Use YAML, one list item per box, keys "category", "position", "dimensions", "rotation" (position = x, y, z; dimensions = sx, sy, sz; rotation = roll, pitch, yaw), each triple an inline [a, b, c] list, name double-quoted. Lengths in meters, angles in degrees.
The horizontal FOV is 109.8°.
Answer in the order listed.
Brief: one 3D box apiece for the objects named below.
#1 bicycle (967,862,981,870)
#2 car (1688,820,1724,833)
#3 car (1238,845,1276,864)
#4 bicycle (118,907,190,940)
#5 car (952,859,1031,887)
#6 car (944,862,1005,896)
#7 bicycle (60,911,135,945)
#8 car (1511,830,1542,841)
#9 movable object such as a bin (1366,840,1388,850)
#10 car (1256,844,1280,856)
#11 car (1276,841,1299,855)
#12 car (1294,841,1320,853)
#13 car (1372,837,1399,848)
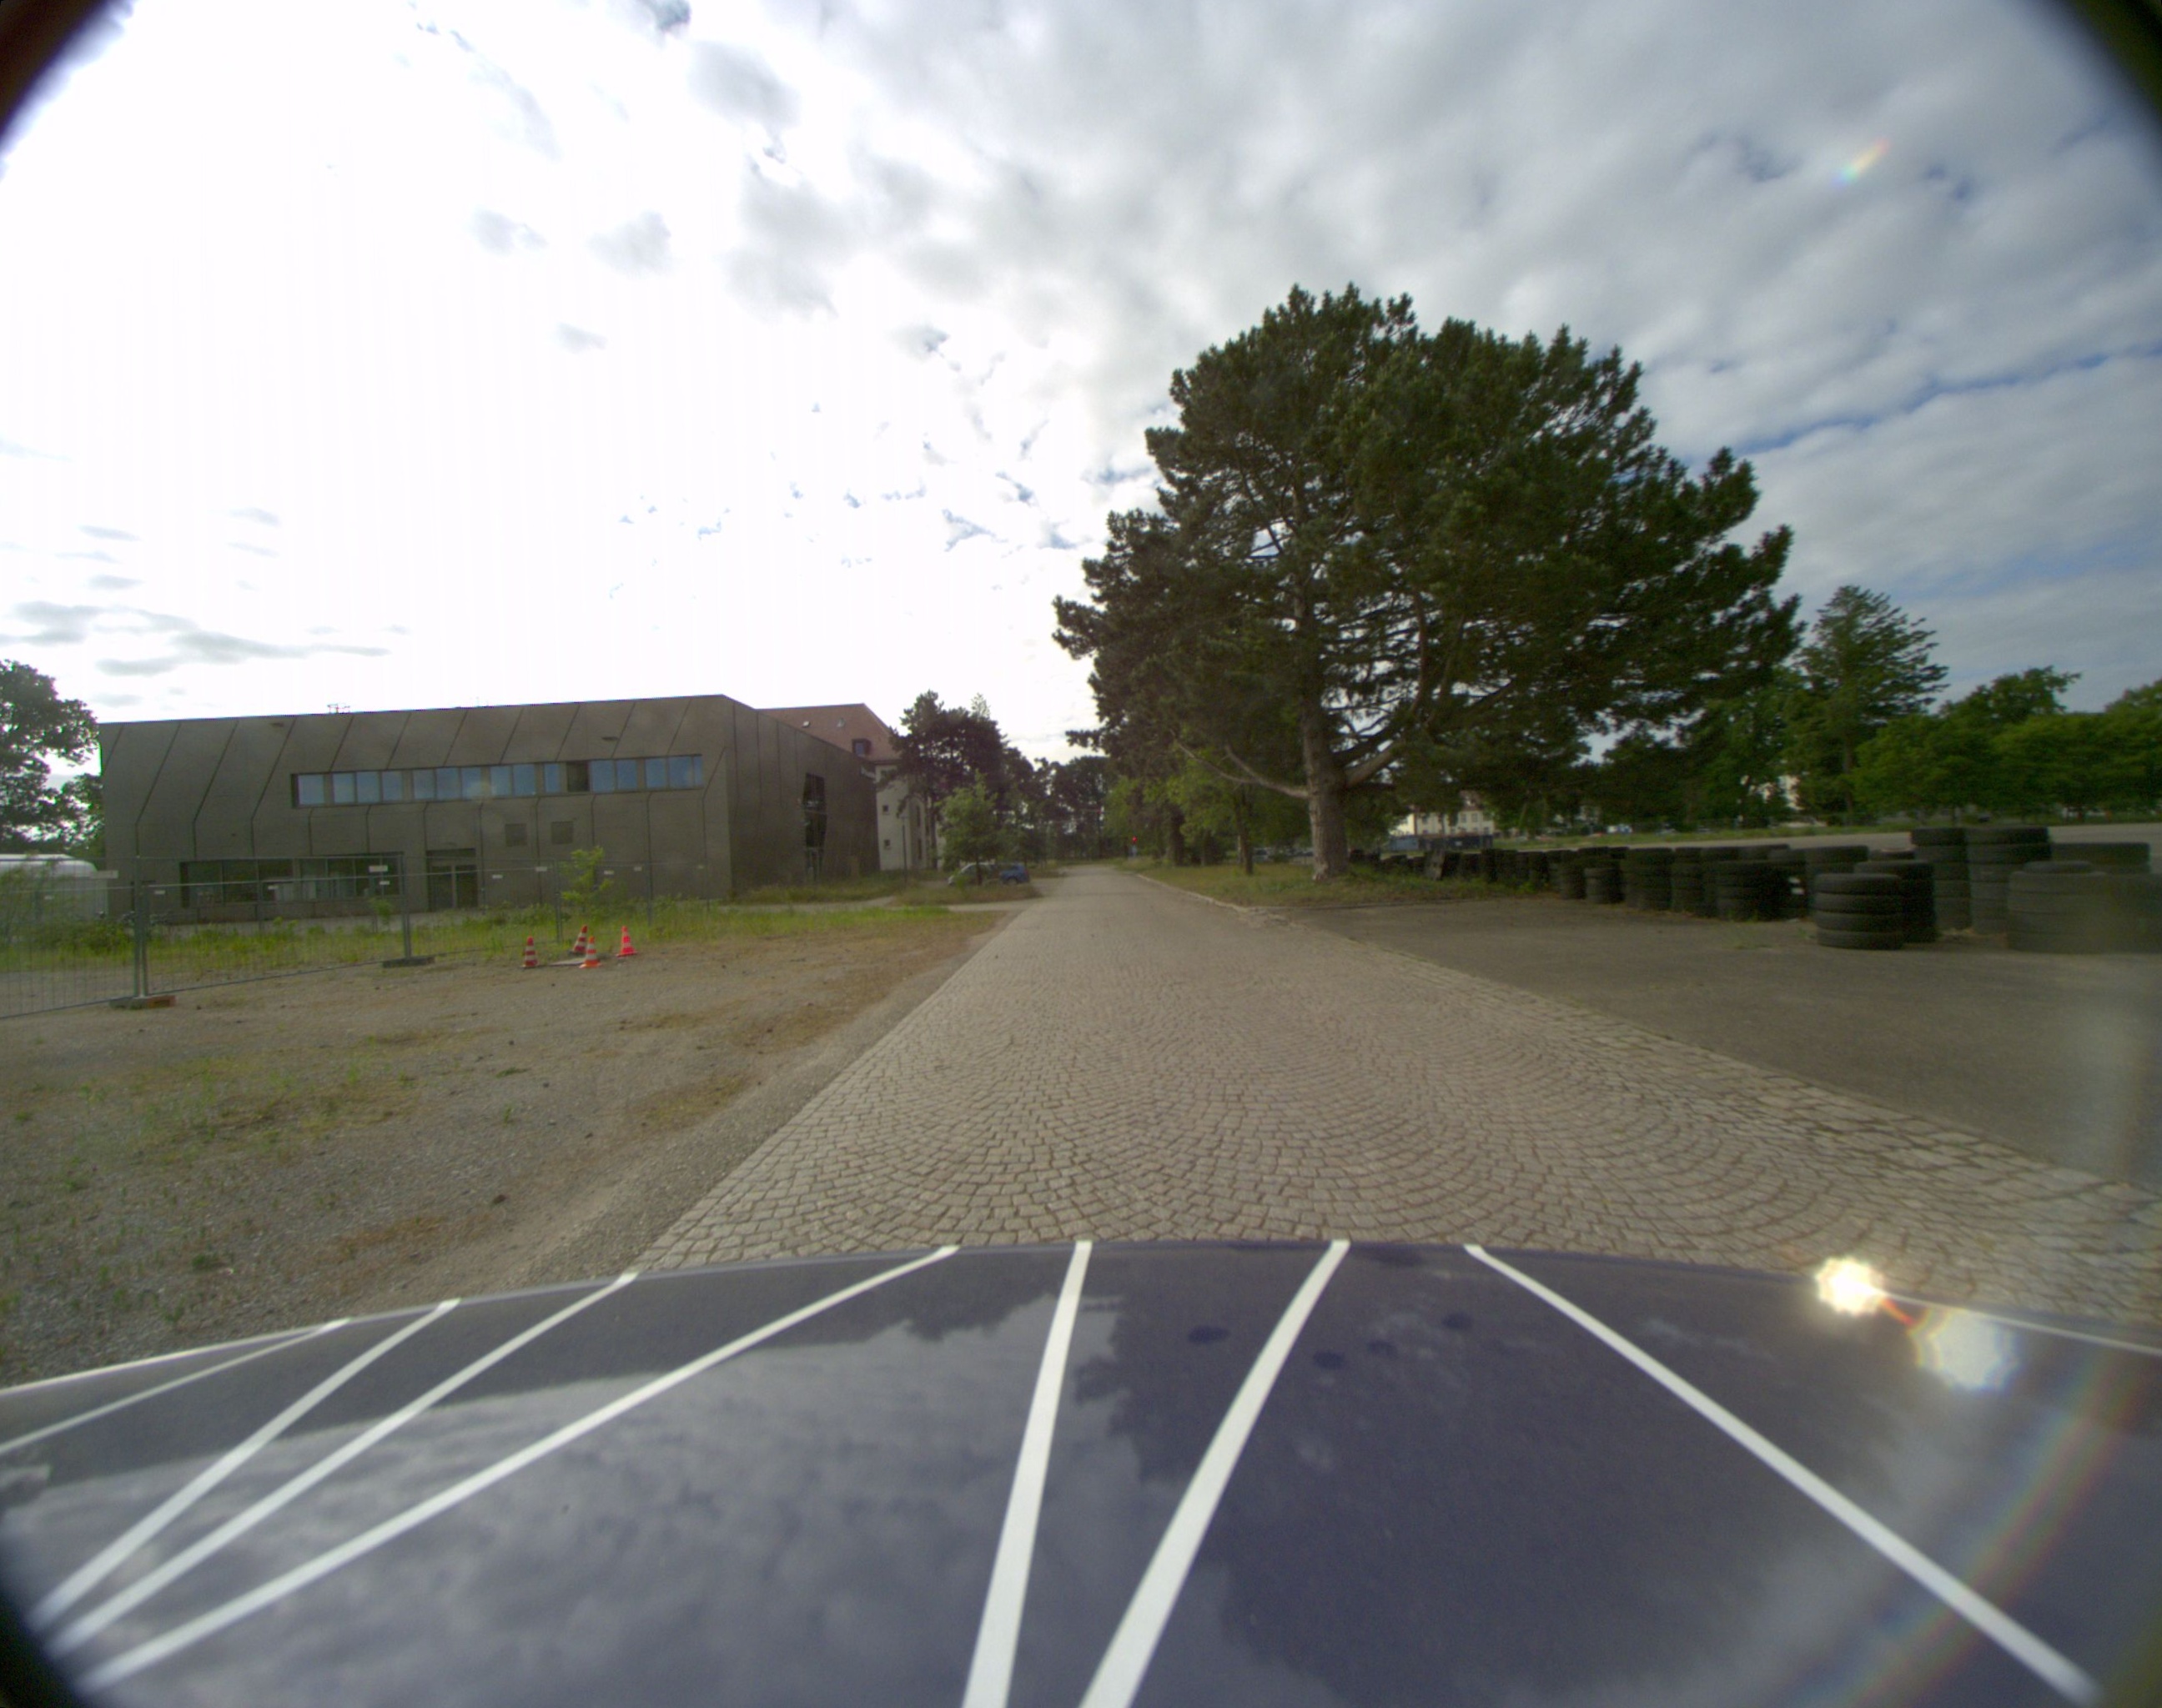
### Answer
- category: "bicycle"
  position: [-14.542, 1.607, 103.294]
  dimensions: [1.656, 1.079, 0.614]
  rotation: [-3, 1, -3]
- category: "car"
  position: [88.762, -3.911, 108.011]
  dimensions: [1.828, 1.712, 4.585]
  rotation: [-3, 0, 8]
- category: "car"
  position: [13.708, 0.055, 59.489]
  dimensions: [1.829, 1.408, 4.420]
  rotation: [-1, 0, -2]
- category: "bicycle"
  position: [-35.022, 2.606, 28.733]
  dimensions: [0.511, 1.079, 1.658]
  rotation: [-3, 0, 10]
- category: "car"
  position: [-5.235, 1.114, 45.023]
  dimensions: [4.503, 1.466, 1.830]
  rotation: [-1, 0, -2]
- category: "car"
  position: [-5.250, 1.223, 37.751]
  dimensions: [2.716, 1.547, 1.654]
  rotation: [-2, 0, 2]
- category: "bicycle"
  position: [-37.285, 2.798, 28.841]
  dimensions: [0.511, 1.079, 1.658]
  rotation: [-3, 0, 10]
- category: "car"
  position: [63.404, -2.650, 108.234]
  dimensions: [1.711, 1.343, 4.402]
  rotation: [-3, 0, 0]
- category: "movable object such as a bin"
  position: [32.952, -0.970, 84.690]
  dimensions: [1.447, 0.963, 1.957]
  rotation: [-3, 0, -7]
- category: "car"
  position: [23.787, -0.471, 96.846]
  dimensions: [1.829, 1.417, 4.319]
  rotation: [-3, 0, -3]
- category: "car"
  position: [26.285, -0.708, 96.897]
  dimensions: [1.674, 1.510, 3.899]
  rotation: [-3, -2, -3]
- category: "car"
  position: [28.931, -0.849, 97.312]
  dimensions: [1.829, 1.466, 4.401]
  rotation: [-3, 0, -3]
- category: "car"
  position: [43.426, -1.598, 108.518]
  dimensions: [1.829, 1.466, 4.401]
  rotation: [-3, 0, -3]
